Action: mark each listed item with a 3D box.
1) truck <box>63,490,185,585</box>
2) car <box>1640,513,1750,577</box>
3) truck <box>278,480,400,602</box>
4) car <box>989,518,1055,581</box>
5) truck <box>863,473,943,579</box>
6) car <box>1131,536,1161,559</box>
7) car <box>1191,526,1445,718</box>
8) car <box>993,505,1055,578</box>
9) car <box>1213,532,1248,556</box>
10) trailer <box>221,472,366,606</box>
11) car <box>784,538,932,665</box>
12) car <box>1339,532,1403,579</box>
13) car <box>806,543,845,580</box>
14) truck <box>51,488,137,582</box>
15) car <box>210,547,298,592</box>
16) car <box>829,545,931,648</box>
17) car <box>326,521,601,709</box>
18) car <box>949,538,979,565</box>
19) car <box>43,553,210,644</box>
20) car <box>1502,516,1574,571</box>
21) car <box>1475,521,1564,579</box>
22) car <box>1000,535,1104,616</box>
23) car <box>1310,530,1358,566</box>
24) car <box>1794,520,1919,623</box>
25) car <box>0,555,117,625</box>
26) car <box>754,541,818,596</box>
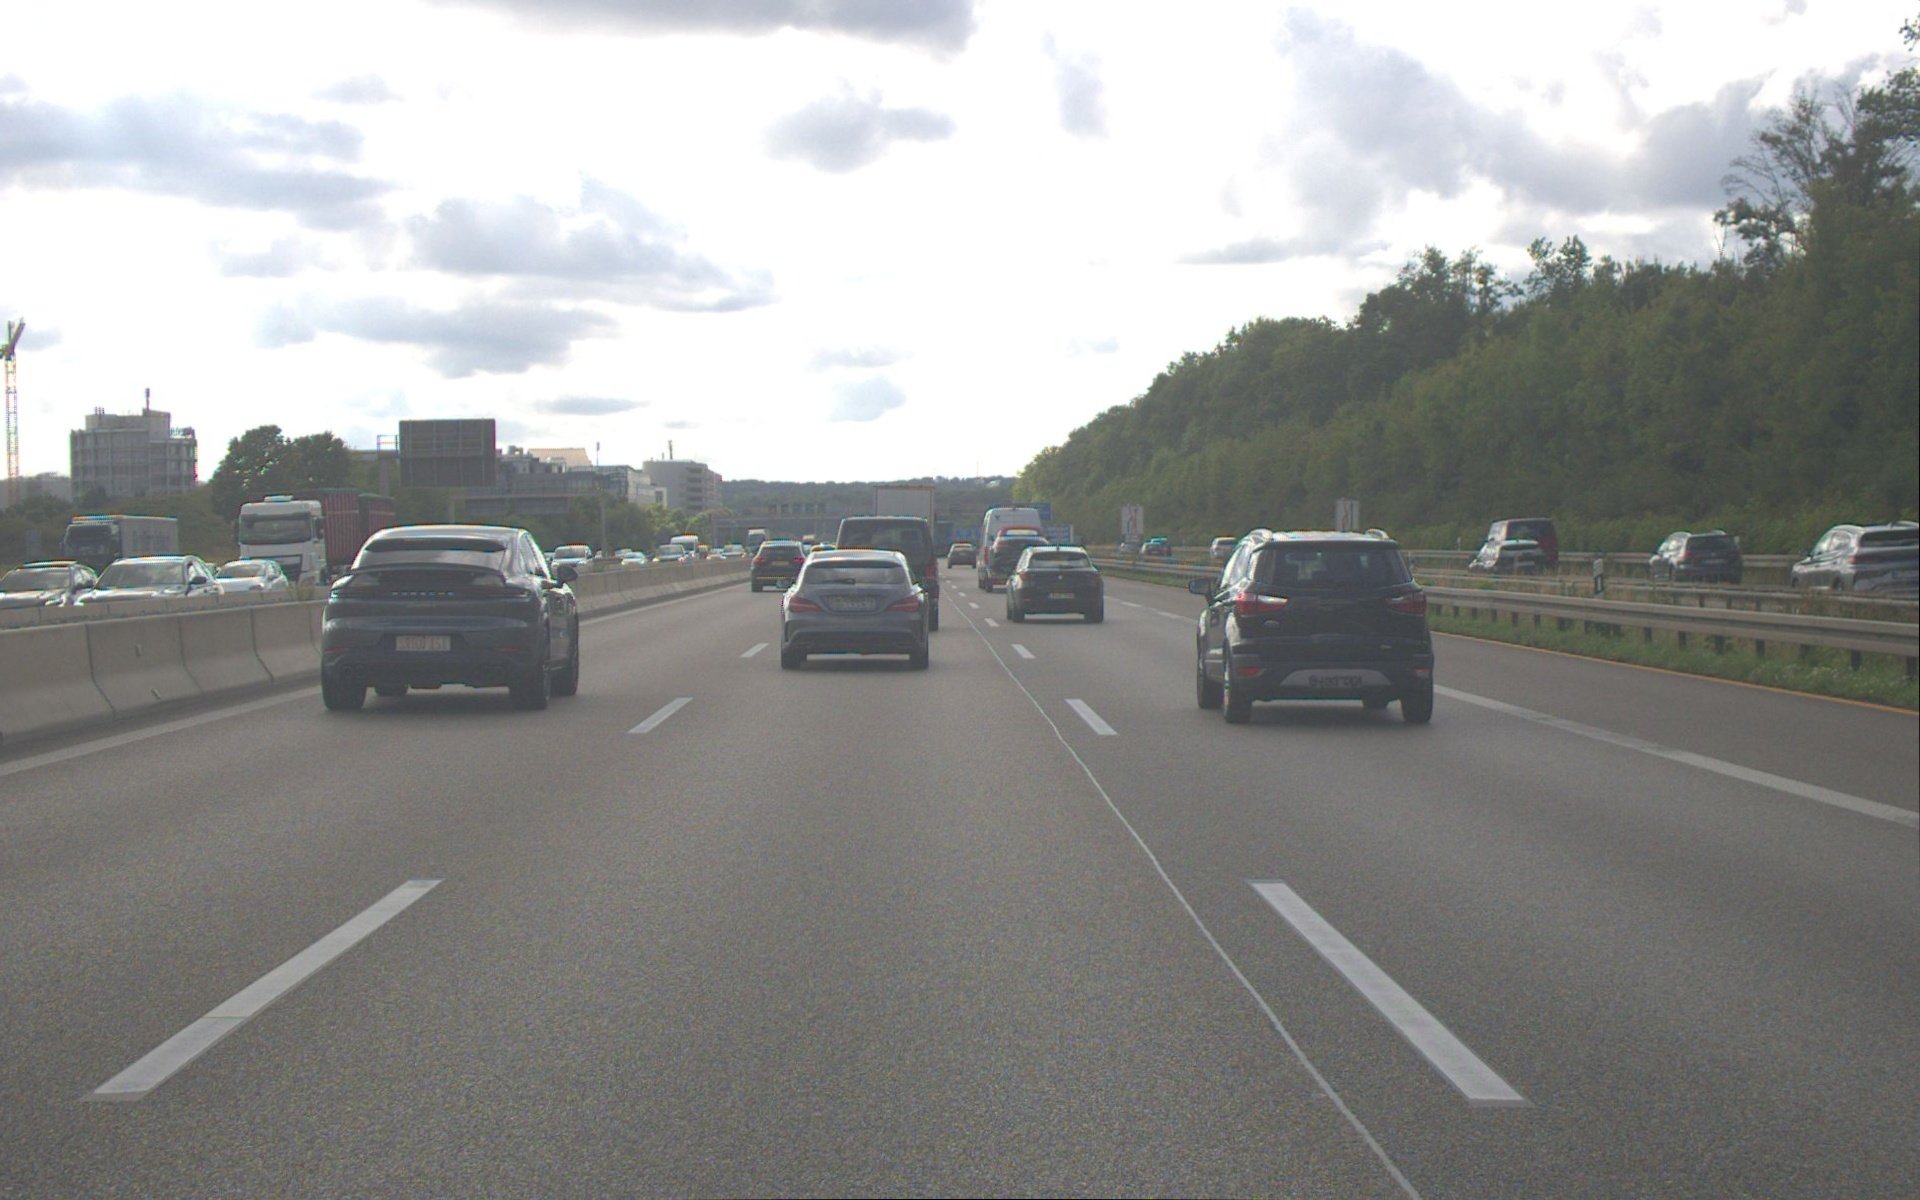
[{"bbox_3d":[-43.683,-3.265,180.140,3.074,4.786,14.128,0,1,-1],"label":"truck"},{"bbox_3d":[19.077,-1.449,89.419,1.728,1.540,4.306,-2,1,-2],"label":"car"},{"bbox_3d":[-22.710,-2.170,126.157,3.046,4.274,8.589,-1,1,-1],"label":"truck"},{"bbox_3d":[1.897,-1.571,106.007,1.913,1.912,4.031,0,1,-1],"label":"car"},{"bbox_3d":[-2.453,-3.174,148.416,3.263,4.360,11.027,1,1,-1],"label":"truck"},{"bbox_3d":[12.521,-3.544,231.674,1.729,1.528,4.453,-1,1,-1],"label":"car"},{"bbox_3d":[3.069,0.141,30.214,1.697,1.559,4.114,0,1,-2],"label":"car"},{"bbox_3d":[2.073,-1.916,112.593,1.873,2.349,4.282,0,1,-1],"label":"car"},{"bbox_3d":[17.383,-3.579,220.981,1.752,1.511,4.191,0,1,-2],"label":"car"},{"bbox_3d":[-22.467,-2.076,116.524,3.046,4.274,10.656,-1,1,-1],"label":"trailer"},{"bbox_3d":[-1.231,-0.023,42.211,1.720,1.474,4.392,0,1,-1],"label":"car"},{"bbox_3d":[15.087,-1.631,126.336,1.752,1.689,4.190,0,1,-1],"label":"car"},{"bbox_3d":[-6.014,-1.731,153.679,1.697,1.605,4.114,0,1,-2],"label":"car"},{"bbox_3d":[-43.632,-3.263,173.319,3.046,4.643,5.072,0,1,0],"label":"truck"},{"bbox_3d":[-19.678,-0.866,95.972,1.655,1.188,4.131,-1,1,-1],"label":"car"},{"bbox_3d":[-1.385,-0.091,60.254,1.720,1.718,4.392,0,1,-1],"label":"car"},{"bbox_3d":[-4.605,0.075,32.656,1.912,1.630,5.501,0,1,-1],"label":"car"},{"bbox_3d":[0.238,-3.026,213.244,1.752,1.689,4.190,0,1,-1],"label":"car"},{"bbox_3d":[-13.577,-0.055,56.224,1.757,1.398,4.074,-1,1,0],"label":"car"},{"bbox_3d":[19.121,-1.881,113.870,1.595,1.797,3.825,0,1,-2],"label":"car"},{"bbox_3d":[15.362,-1.375,94.518,1.595,1.540,4.191,0,1,-2],"label":"car"},{"bbox_3d":[1.762,-0.503,66.708,1.832,1.516,4.225,0,1,-1],"label":"car"},{"bbox_3d":[17.615,-2.461,162.129,1.752,1.689,4.190,0,1,-1],"label":"car"},{"bbox_3d":[15.975,-0.530,59.677,1.846,1.644,4.306,-2,1,-1],"label":"car"},{"bbox_3d":[-17.794,-0.219,67.248,1.580,1.279,4.241,-1,1,0],"label":"car"},{"bbox_3d":[-5.478,-1.014,108.809,1.873,1.692,4.072,0,1,-1],"label":"car"}]
